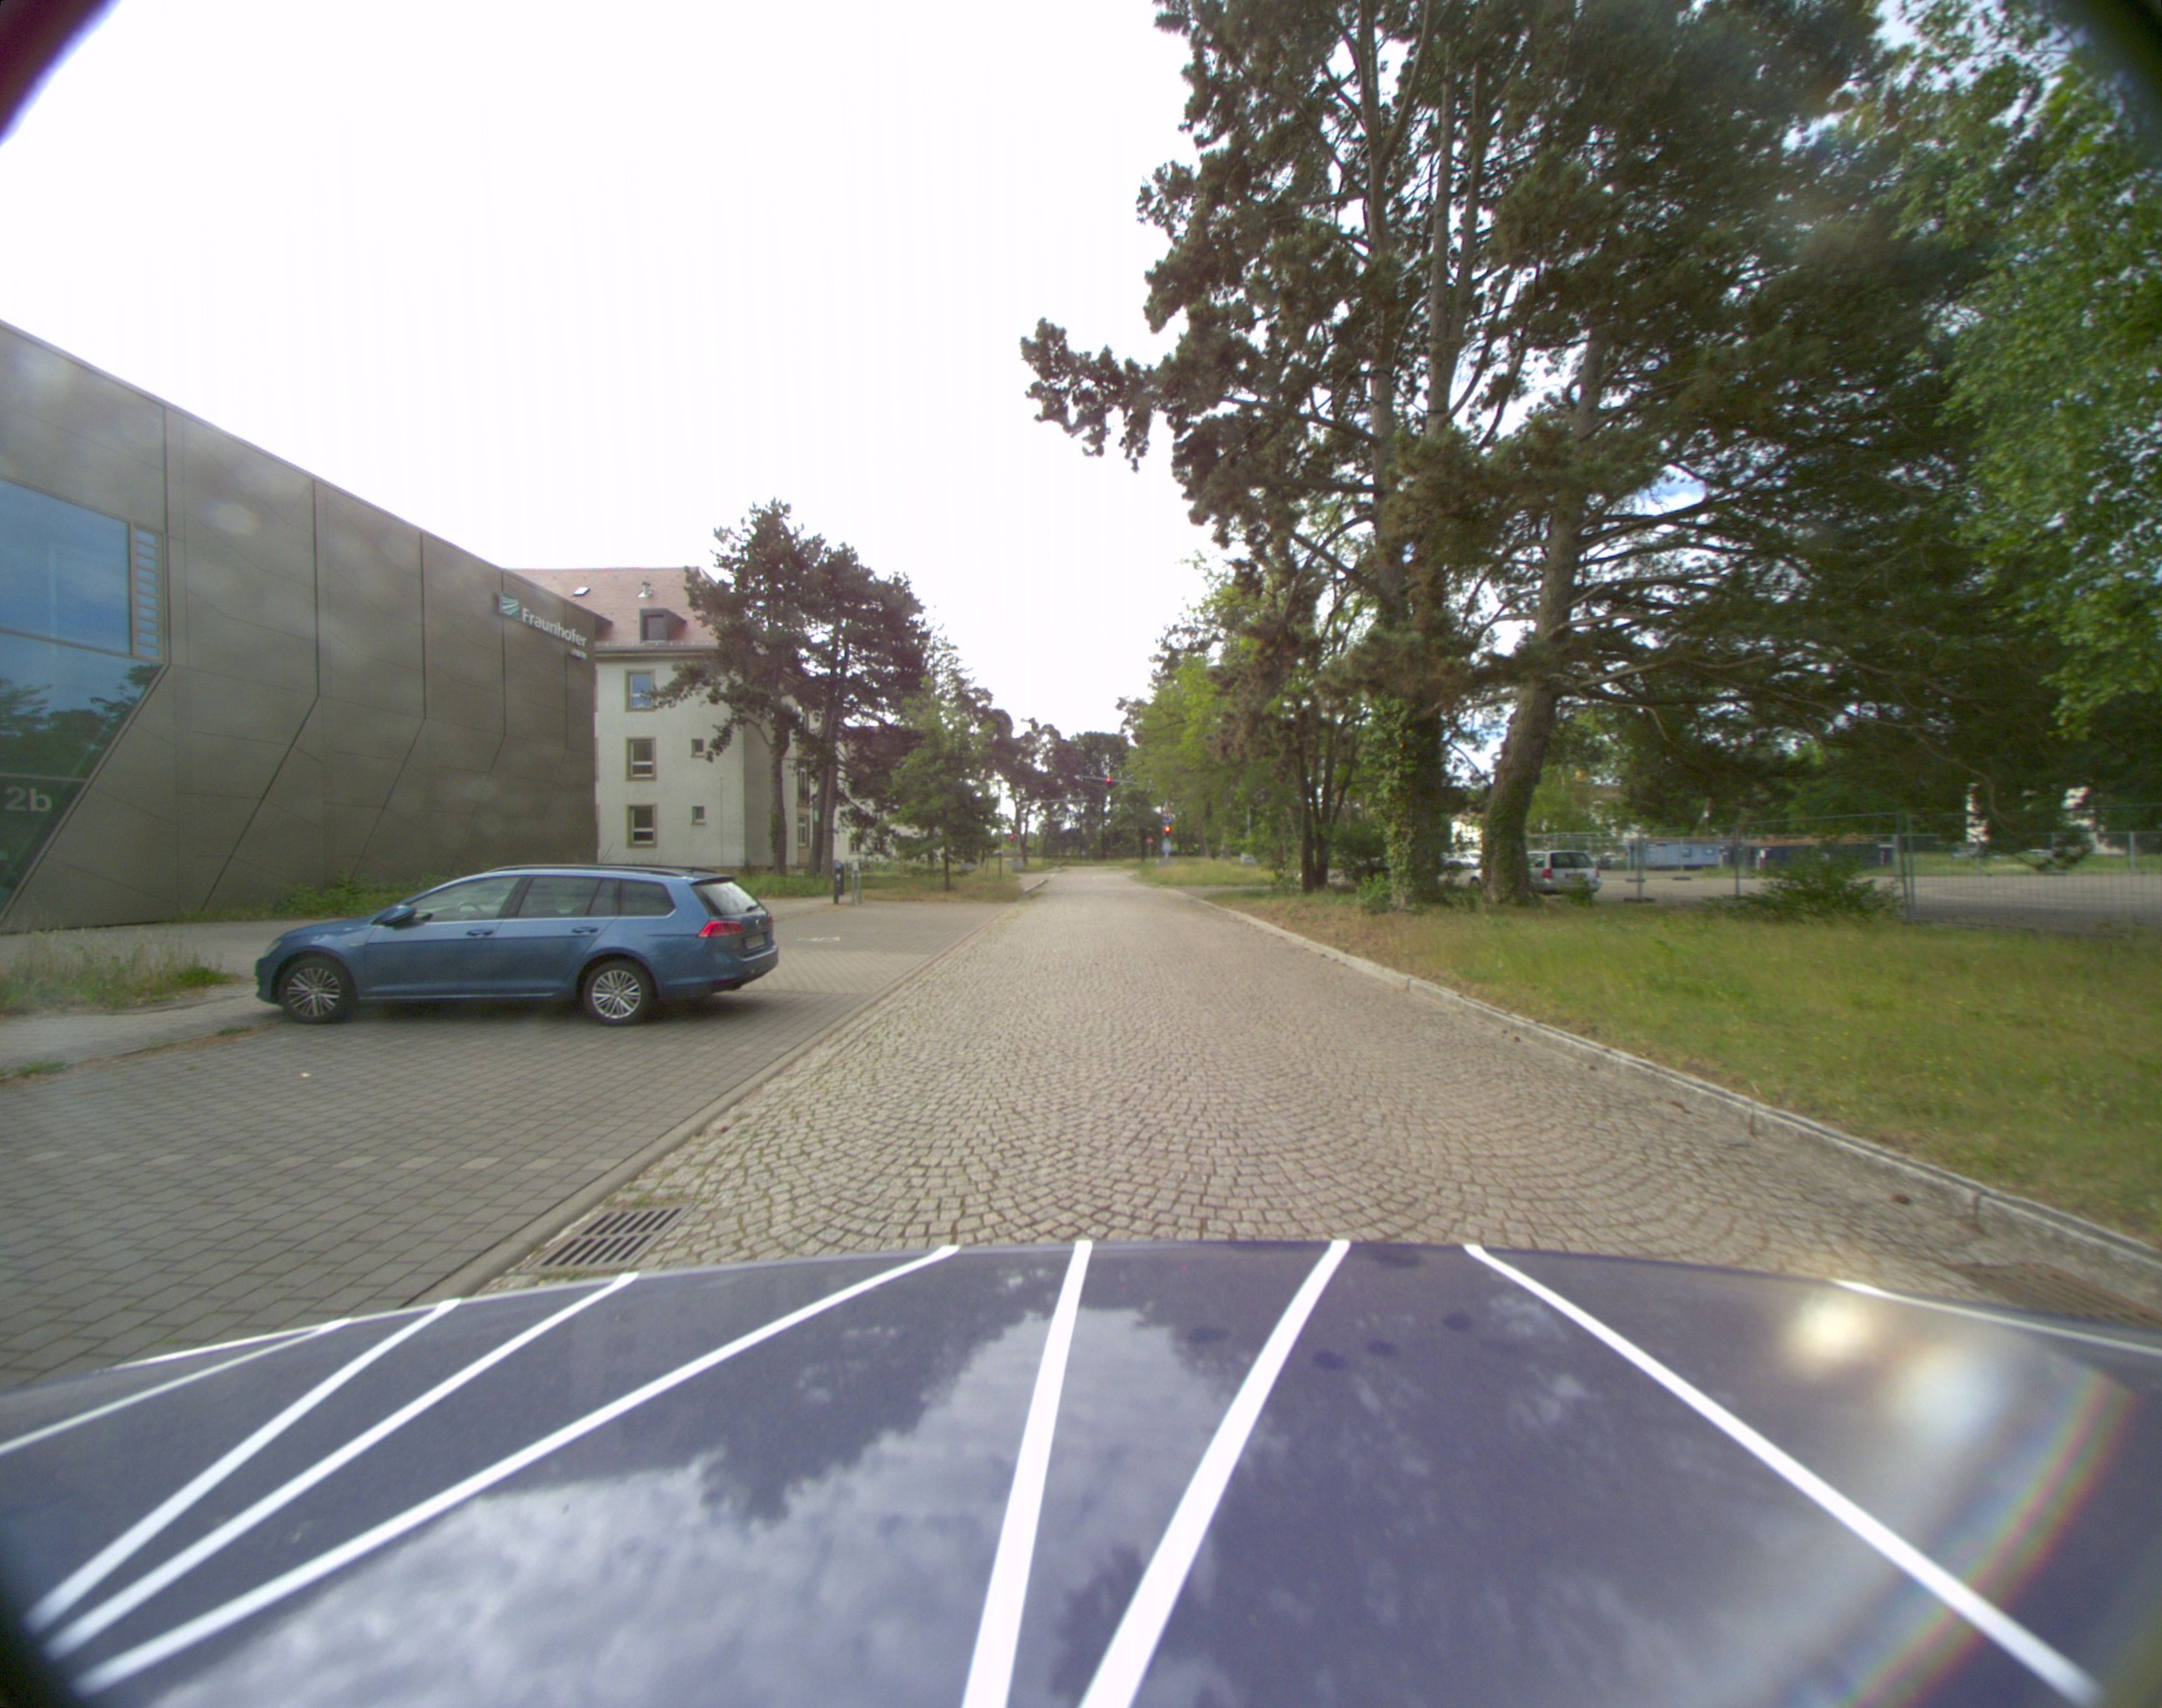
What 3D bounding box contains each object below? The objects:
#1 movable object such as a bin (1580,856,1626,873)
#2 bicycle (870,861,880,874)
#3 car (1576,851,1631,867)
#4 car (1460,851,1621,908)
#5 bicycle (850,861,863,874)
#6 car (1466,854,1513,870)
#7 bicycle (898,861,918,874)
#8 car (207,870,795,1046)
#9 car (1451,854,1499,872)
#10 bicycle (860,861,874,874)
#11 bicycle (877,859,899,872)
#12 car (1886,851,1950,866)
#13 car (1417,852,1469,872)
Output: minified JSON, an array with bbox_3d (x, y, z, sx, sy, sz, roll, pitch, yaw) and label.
[{"bbox_3d":[32.544,0.642,47.413,1.448,0.963,1.957,-1,0,-7],"label":"movable object such as a bin"},{"bbox_3d":[-18.289,1.158,67.474,0.476,1.121,1.656,-1,0,-1],"label":"bicycle"},{"bbox_3d":[48.865,0.459,71.160,1.830,1.466,4.400,-1,0,-5],"label":"car"},{"bbox_3d":[13.124,0.676,22.069,1.829,1.408,4.420,2,0,-2],"label":"car"},{"bbox_3d":[-19.883,1.161,67.328,0.447,1.121,1.732,0,0,9],"label":"bicycle"},{"bbox_3d":[38.166,0.744,71.099,1.829,1.466,4.401,-1,0,-3],"label":"car"},{"bbox_3d":[-15.021,1.162,65.984,1.656,1.079,0.614,-1,0,-3],"label":"bicycle"},{"bbox_3d":[-5.530,0.968,7.748,4.503,1.466,1.830,1,0,-2],"label":"car"},{"bbox_3d":[31.315,0.691,60.522,1.637,1.391,4.036,-1,0,-3],"label":"car"},{"bbox_3d":[-18.913,1.150,67.239,0.476,1.121,1.704,0,0,9],"label":"bicycle"},{"bbox_3d":[-16.723,0.964,65.837,1.655,1.079,0.615,0,0,2],"label":"bicycle"},{"bbox_3d":[77.799,0.430,70.674,1.709,1.343,4.406,0,0,11],"label":"car"},{"bbox_3d":[28.519,0.622,60.032,1.829,1.466,4.401,-1,0,-3],"label":"car"}]
